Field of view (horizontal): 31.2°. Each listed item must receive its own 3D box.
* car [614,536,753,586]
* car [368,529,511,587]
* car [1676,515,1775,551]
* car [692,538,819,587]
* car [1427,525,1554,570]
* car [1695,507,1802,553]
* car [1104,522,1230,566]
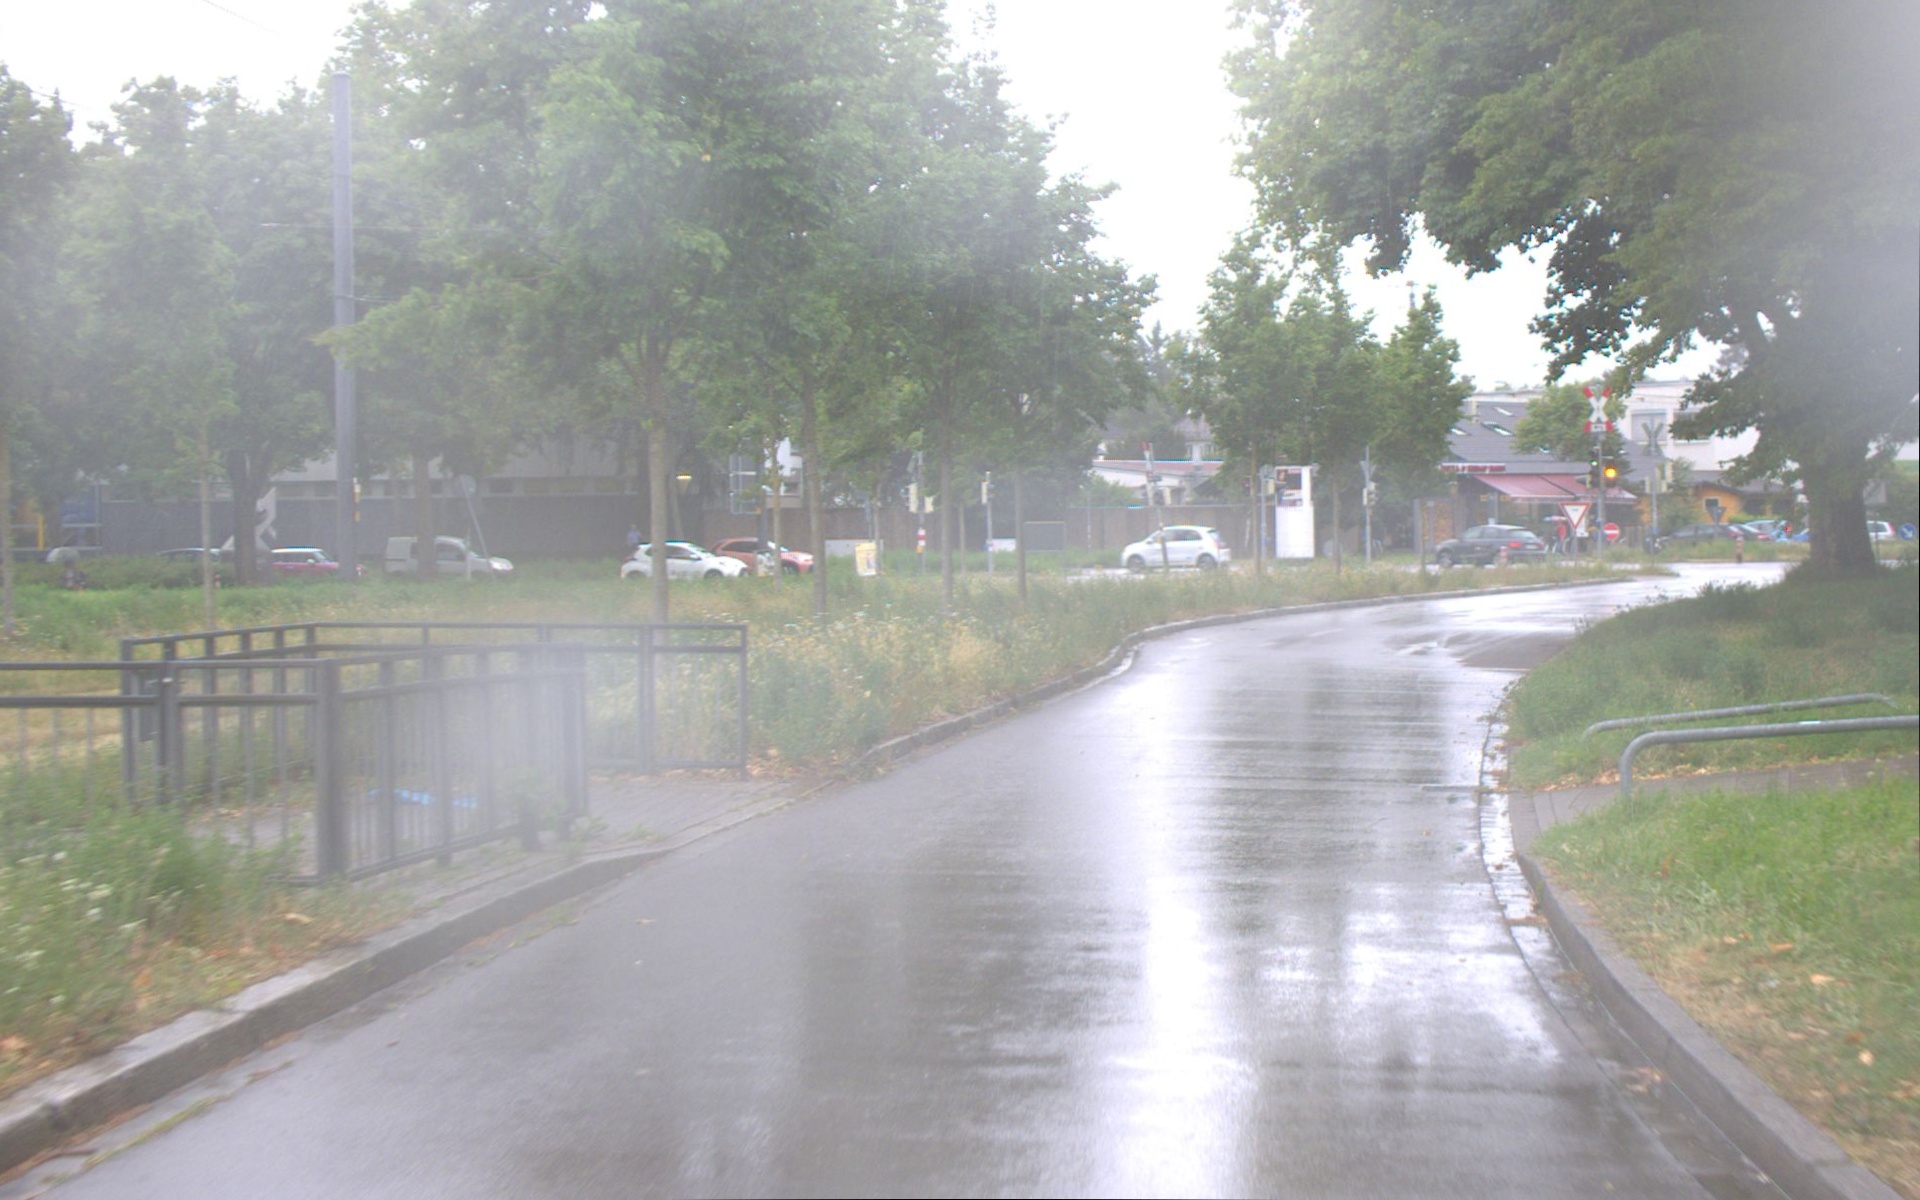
[{"bbox_3d":[-8.744,-1.233,108.885,4.067,1.494,1.651,-1,1,12],"label":"car"},{"bbox_3d":[-16.759,-1.355,110.775,4.211,1.790,1.651,-1,2,10],"label":"car"},{"bbox_3d":[32.174,-2.813,144.501,3.755,1.437,1.760,-1,1,26],"label":"car"},{"bbox_3d":[-6.660,-1.222,112.023,3.820,1.494,1.651,-1,1,12],"label":"car"},{"bbox_3d":[17.080,-1.684,110.745,1.685,1.415,3.813,-3,2,-43],"label":"car"},{"bbox_3d":[33.839,-3.001,147.503,4.142,1.853,1.671,-1,1,30],"label":"car"},{"bbox_3d":[7.084,-1.910,117.569,3.991,1.415,1.537,-1,2,21],"label":"car"}]
